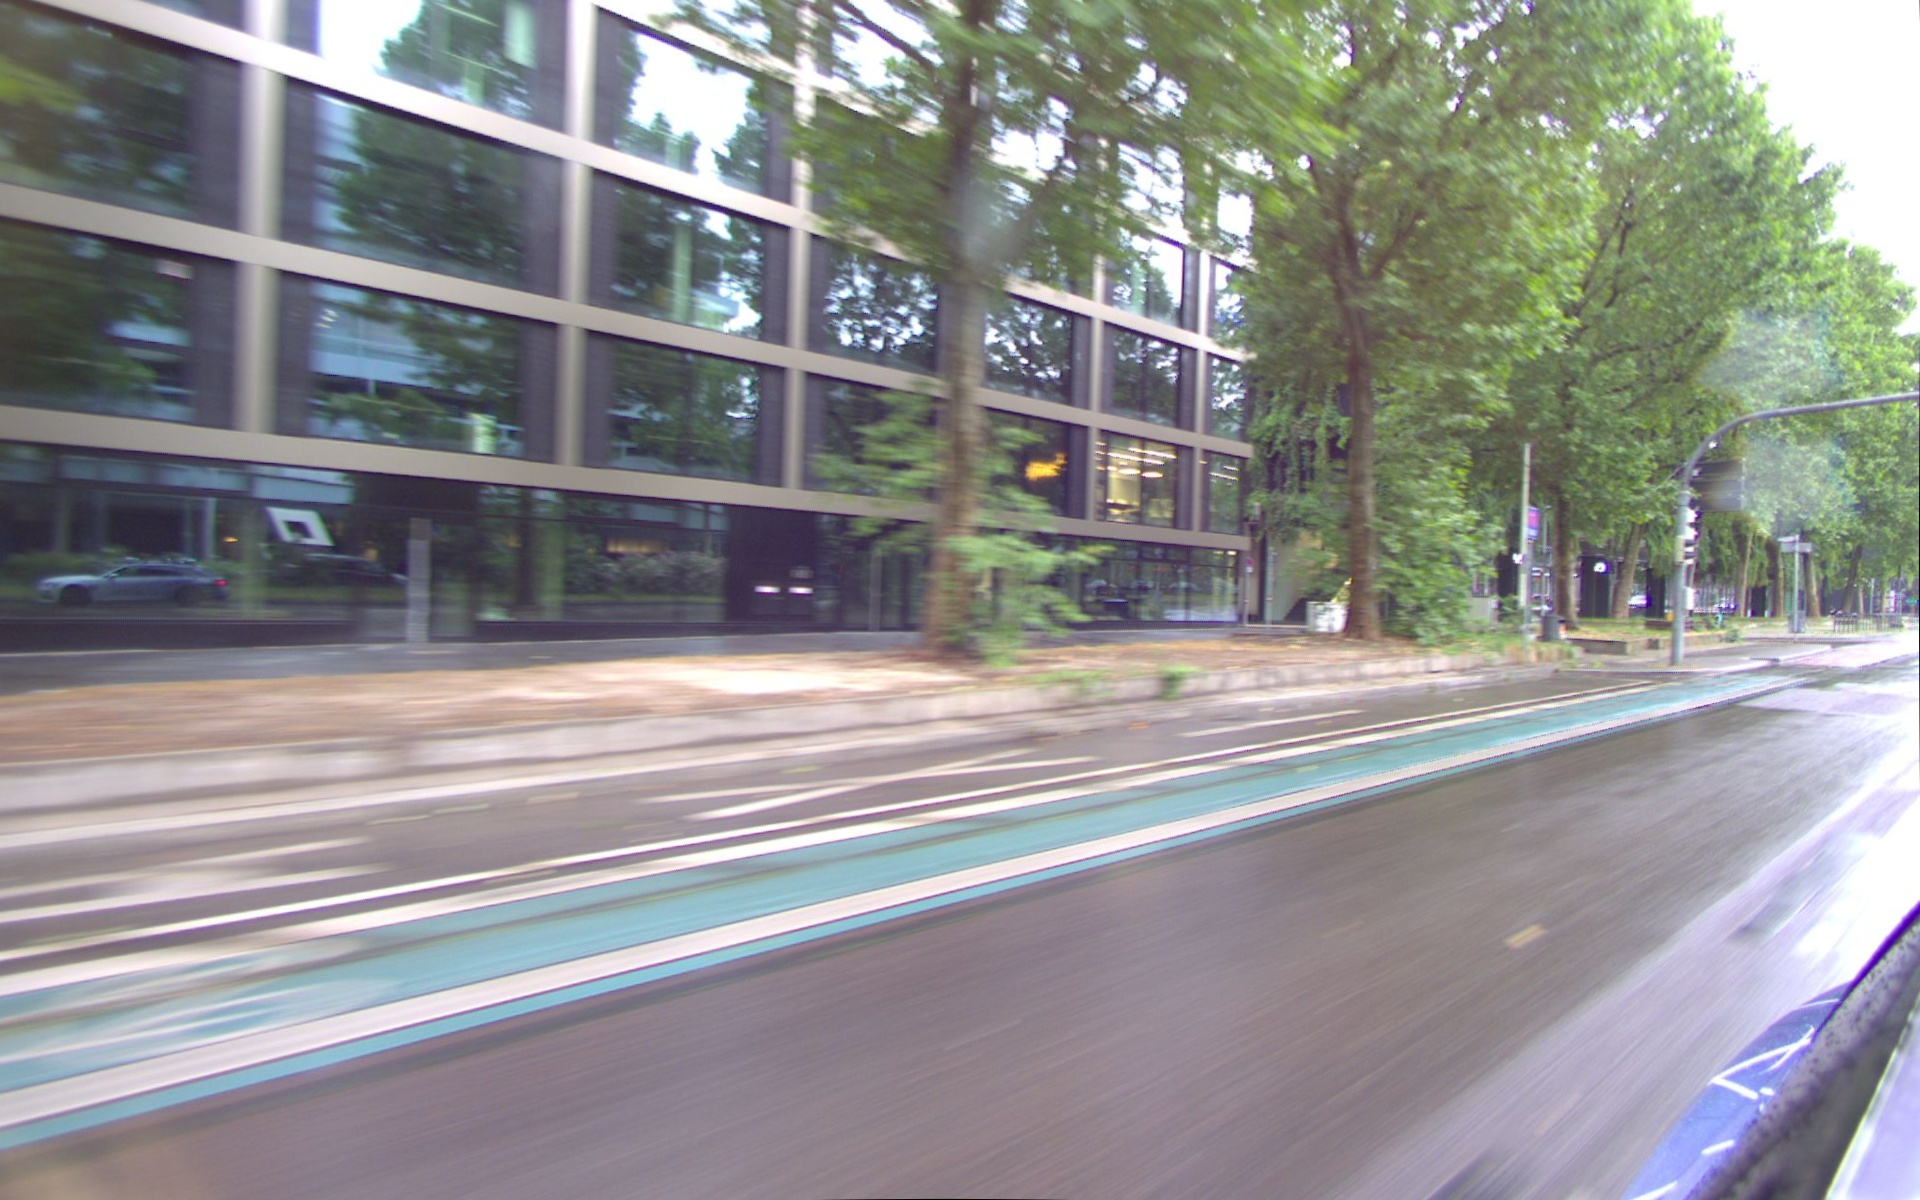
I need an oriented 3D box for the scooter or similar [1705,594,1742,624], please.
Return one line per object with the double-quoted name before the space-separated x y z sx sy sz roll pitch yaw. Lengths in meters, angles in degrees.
"scooter or similar" 34.083 0.400 45.201 1.165 1.298 0.535 -1 0 9
